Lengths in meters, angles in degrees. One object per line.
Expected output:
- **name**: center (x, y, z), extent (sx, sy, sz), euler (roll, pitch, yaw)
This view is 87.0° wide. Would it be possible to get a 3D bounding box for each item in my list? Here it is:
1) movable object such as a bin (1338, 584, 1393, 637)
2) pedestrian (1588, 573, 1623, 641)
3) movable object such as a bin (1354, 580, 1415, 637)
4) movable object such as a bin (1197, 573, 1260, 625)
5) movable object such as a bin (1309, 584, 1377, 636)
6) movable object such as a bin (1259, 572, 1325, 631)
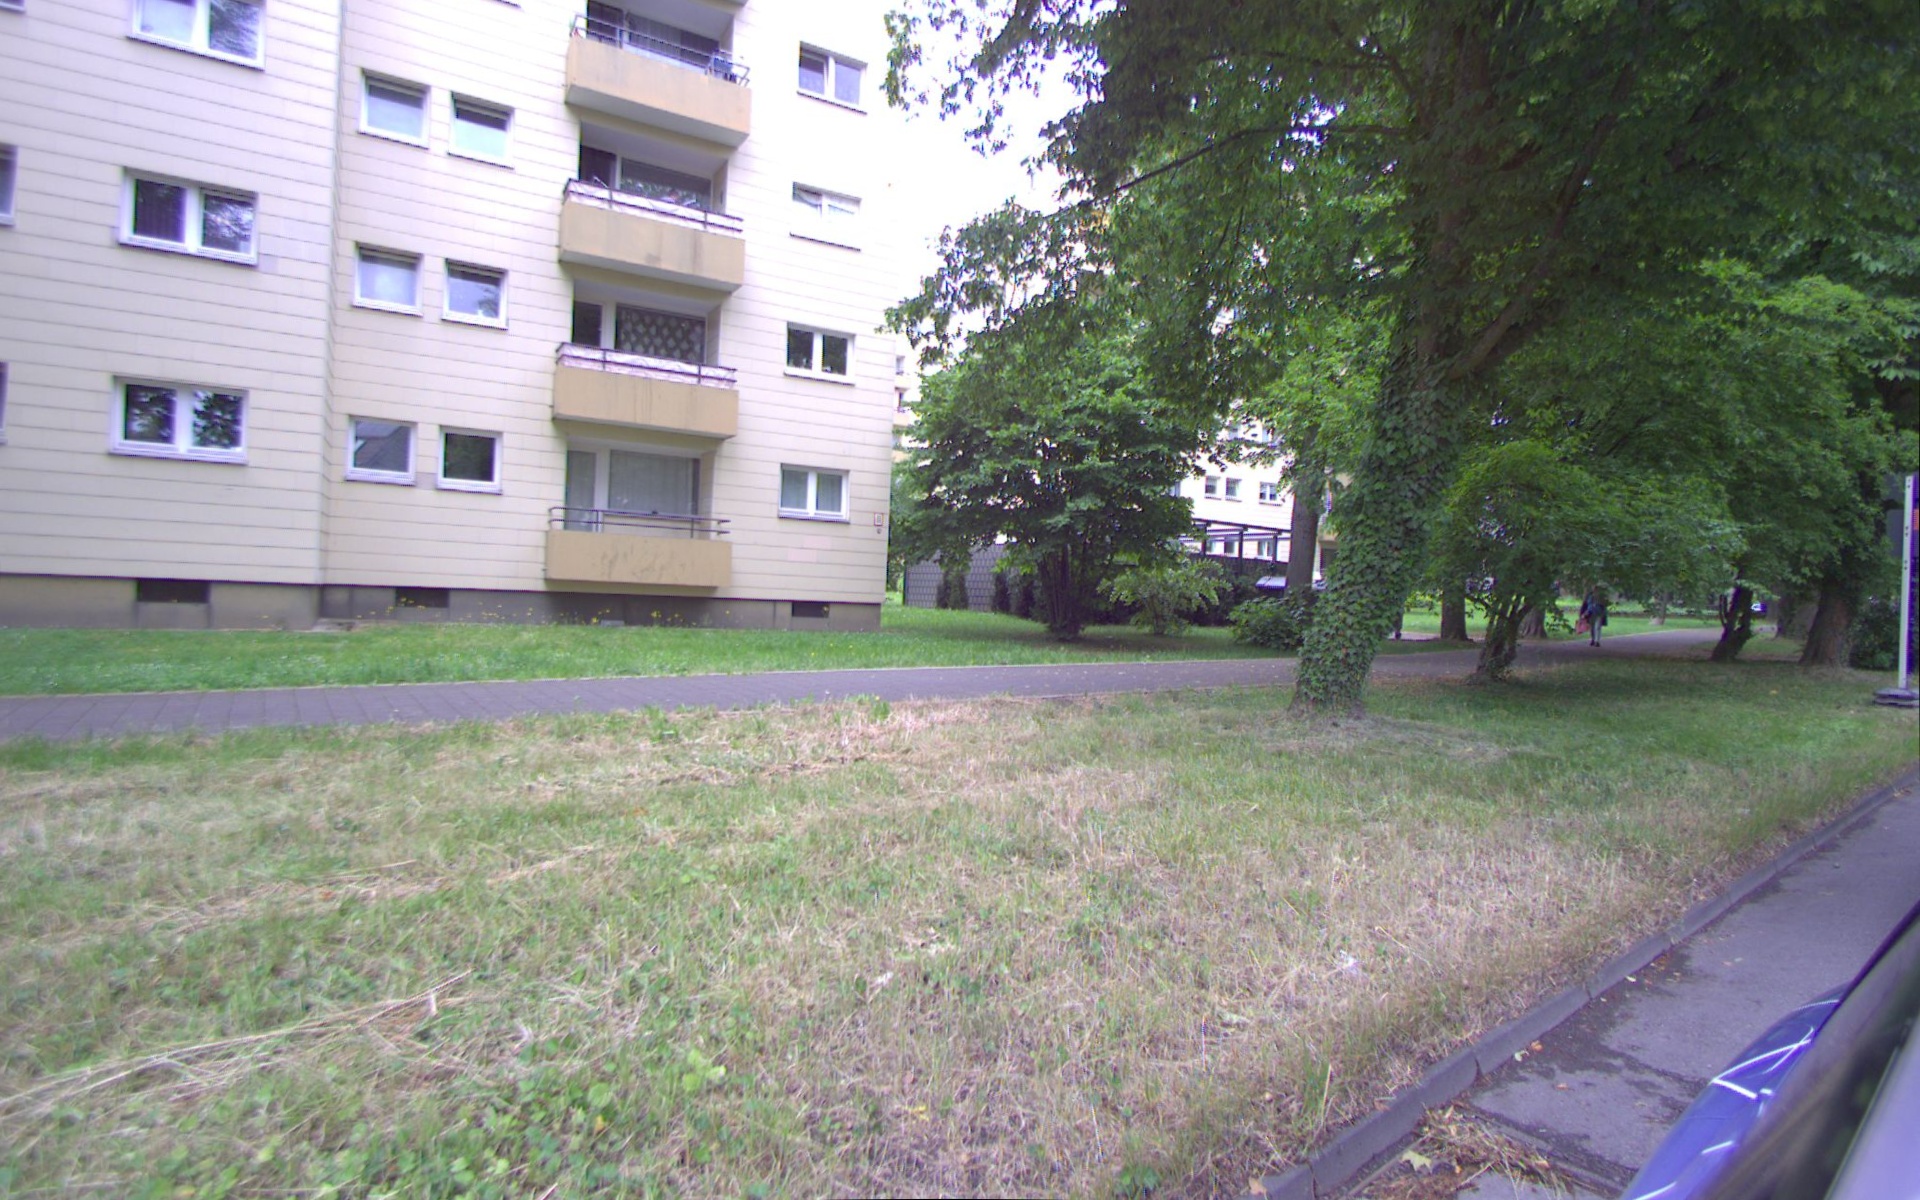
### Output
- **movable object such as a bin**: center (10.557, 0.267, 26.342), extent (1.022, 1.320, 0.946), euler (3, 2, 41)
- **pedestrian**: center (17.152, 0.189, 26.899), extent (0.560, 1.761, 0.565), euler (1, 2, -41)
- **movable object such as a bin**: center (11.358, 0.207, 27.060), extent (1.190, 1.431, 1.094), euler (3, 2, 41)
- **movable object such as a bin**: center (7.418, -0.029, 27.912), extent (1.190, 1.358, 1.328), euler (3, 2, 41)
- **movable object such as a bin**: center (9.670, 0.245, 25.568), extent (1.190, 1.236, 1.328), euler (3, 2, 41)
- **movable object such as a bin**: center (8.680, 0.029, 26.440), extent (1.190, 1.475, 1.328), euler (3, 2, 41)
